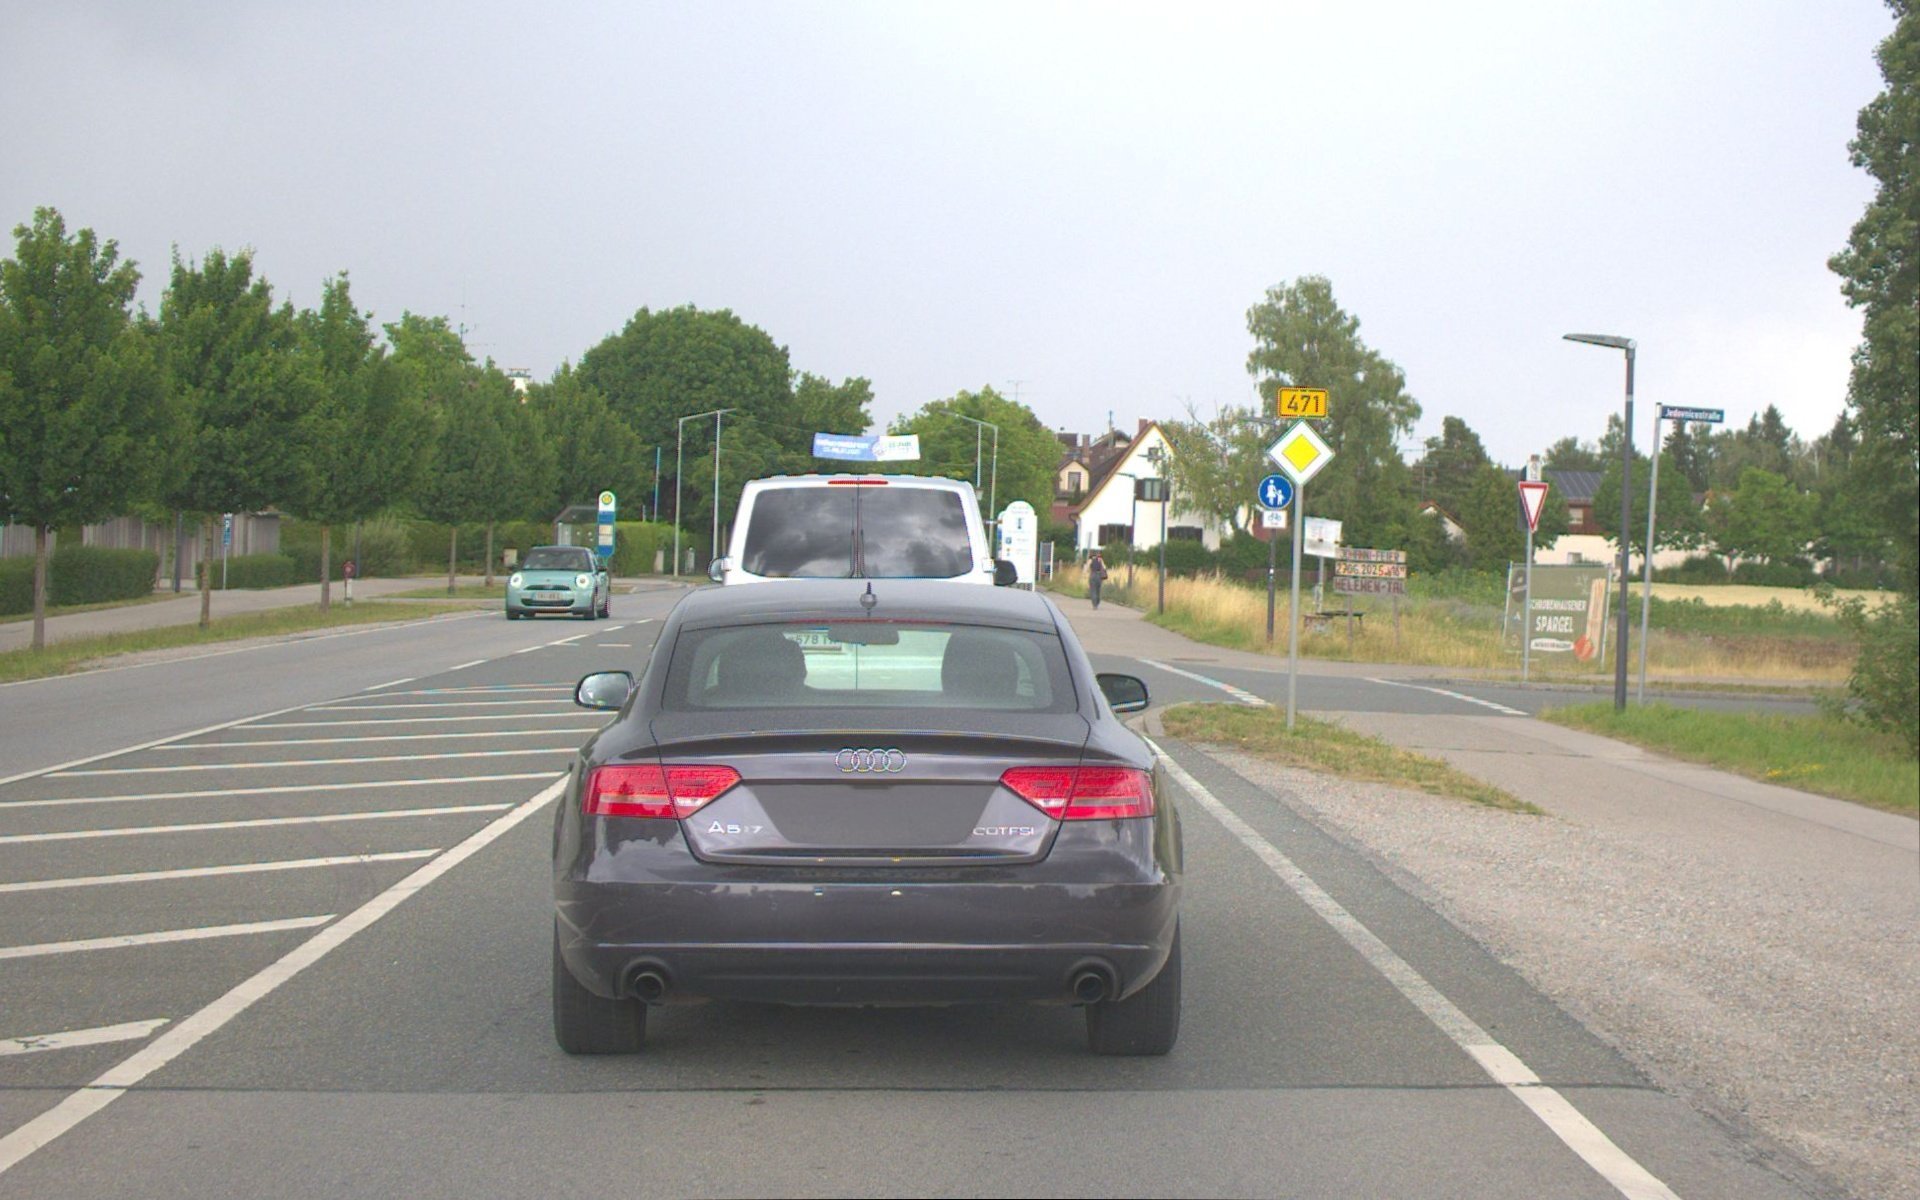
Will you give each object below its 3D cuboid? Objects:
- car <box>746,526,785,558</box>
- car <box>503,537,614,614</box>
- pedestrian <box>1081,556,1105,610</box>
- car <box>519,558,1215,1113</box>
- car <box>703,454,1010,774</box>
[{"bbox_3d":[-8.967,-2.686,158.351,1.653,1.424,3.603,0,1,-1],"label":"car"},{"bbox_3d":[-7.877,-0.502,67.724,1.770,1.438,4.000,0,1,-1],"label":"car"},{"bbox_3d":[3.768,-0.493,97.242,0.623,1.519,0.680,0,1,-1],"label":"pedestrian"},{"bbox_3d":[-0.426,0.585,11.202,1.825,1.384,4.388,0,1,-5],"label":"car"},{"bbox_3d":[-0.723,0.042,23.426,1.825,1.907,4.001,3,1,-2],"label":"car"}]
